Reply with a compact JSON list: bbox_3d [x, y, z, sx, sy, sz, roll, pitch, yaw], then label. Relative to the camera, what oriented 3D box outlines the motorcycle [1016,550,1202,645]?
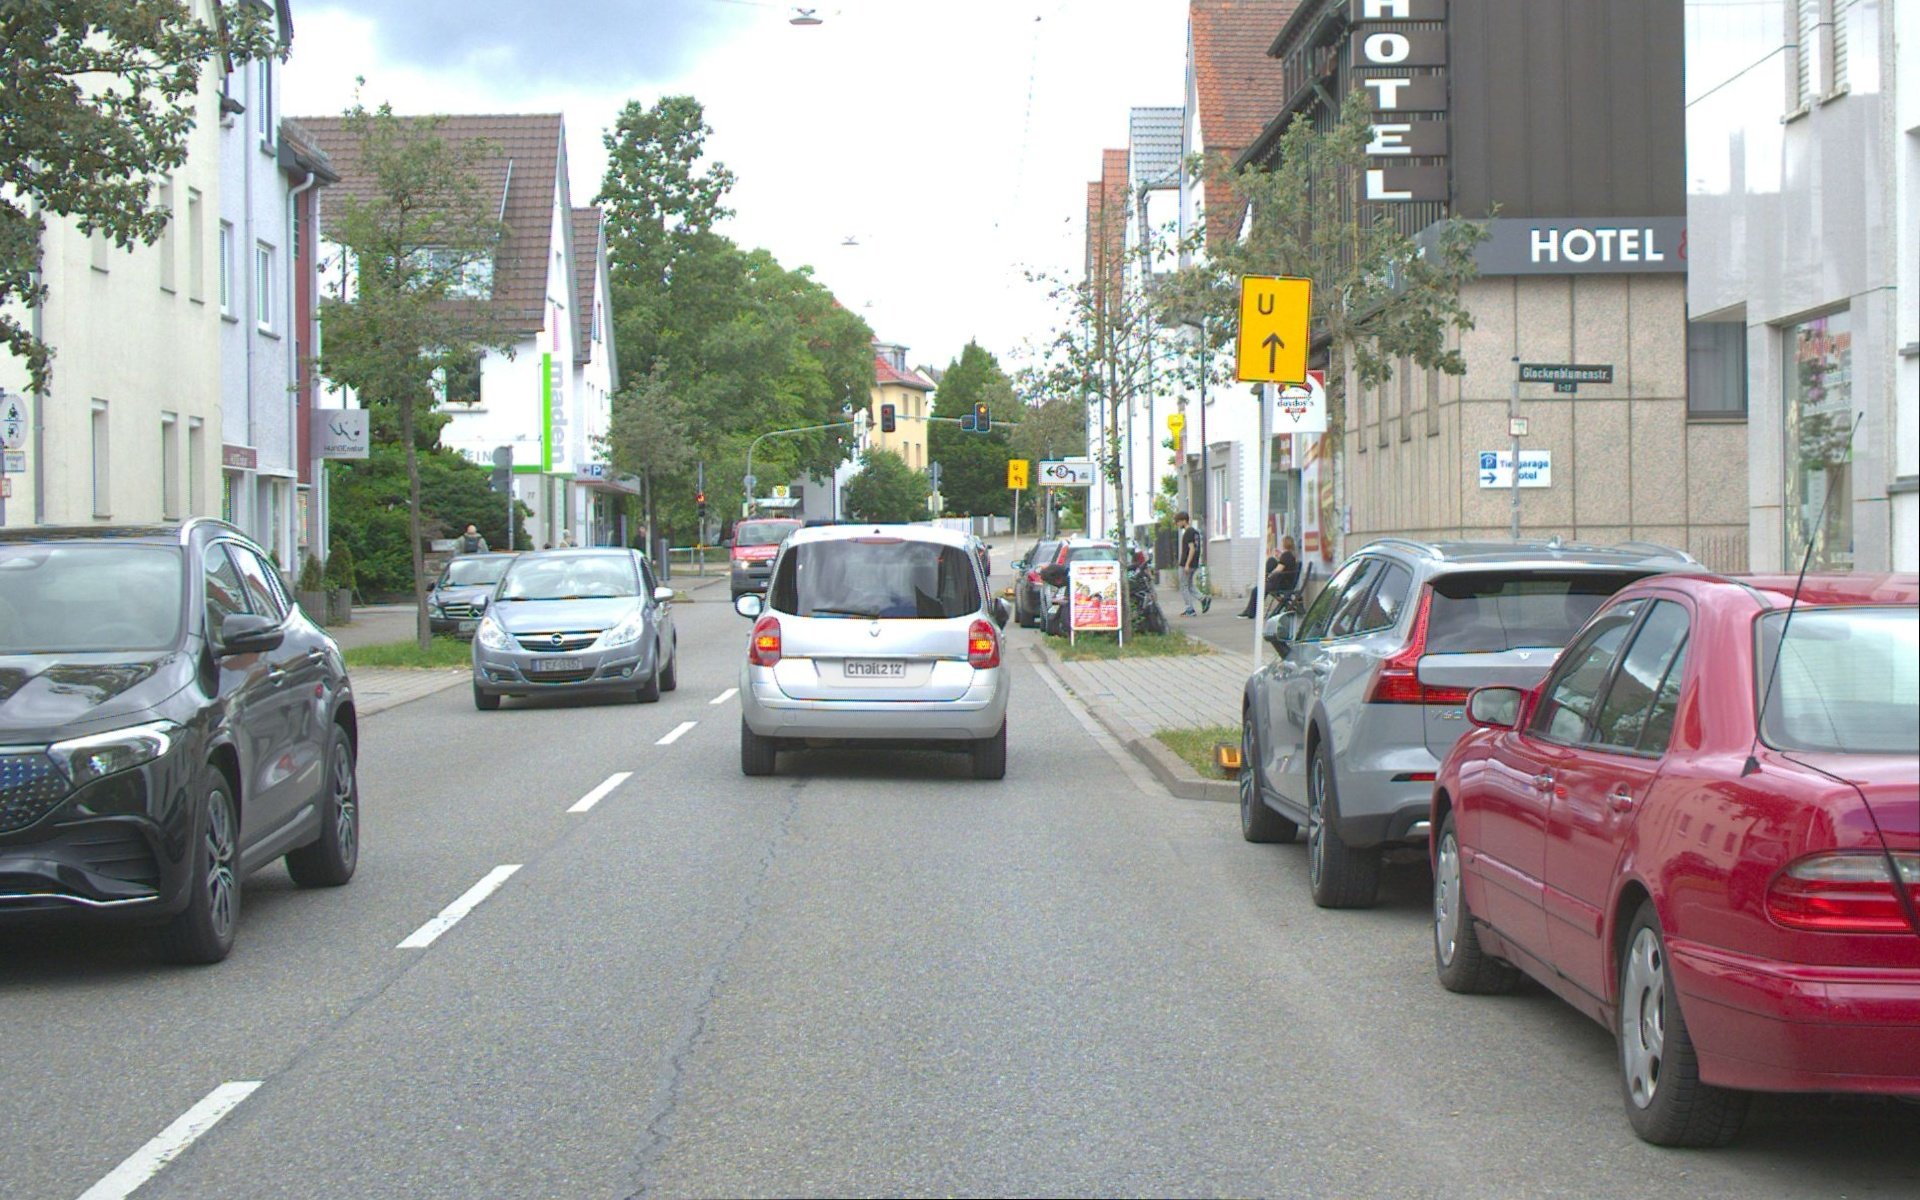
[{"bbox_3d":[2.151,-0.035,49.376,2.707,1.331,0.700,0,1,-31],"label":"motorcycle"}]

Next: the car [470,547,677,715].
[{"bbox_3d":[-3.619,0.252,32.759,1.682,1.442,4.021,-2,1,-3],"label":"car"}]

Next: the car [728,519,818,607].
[{"bbox_3d":[-4.402,-0.883,81.289,1.952,2.007,4.000,0,1,-1],"label":"car"}]

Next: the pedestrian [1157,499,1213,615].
[{"bbox_3d":[3.747,-0.717,57.387,0.857,1.921,0.899,0,1,0],"label":"pedestrian"}]

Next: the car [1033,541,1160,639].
[{"bbox_3d":[2.044,-0.173,52.523,1.700,1.425,3.891,0,1,-1],"label":"car"}]

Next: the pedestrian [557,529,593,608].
[{"bbox_3d":[-9.126,-0.750,81.487,0.762,1.869,0.696,0,1,-1],"label":"pedestrian"}]

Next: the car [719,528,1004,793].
[{"bbox_3d":[-0.592,0.332,22.533,1.682,1.560,3.993,1,1,0],"label":"car"}]

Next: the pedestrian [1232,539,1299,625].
[{"bbox_3d":[4.822,-0.287,54.280,0.887,1.296,0.966,-4,1,0],"label":"pedestrian"}]

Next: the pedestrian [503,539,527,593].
[{"bbox_3d":[-10.687,-0.819,82.529,0.492,1.273,0.588,0,1,-1],"label":"pedestrian"}]

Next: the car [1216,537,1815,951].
[{"bbox_3d":[2.244,0.508,15.114,1.875,1.534,4.513,0,1,0],"label":"car"}]

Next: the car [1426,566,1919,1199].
[{"bbox_3d":[2.466,0.651,9.408,1.755,1.441,4.455,1,1,0],"label":"car"}]

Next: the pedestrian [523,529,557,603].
[{"bbox_3d":[-9.961,-0.813,81.529,0.716,1.750,0.696,0,1,-1],"label":"pedestrian"}]

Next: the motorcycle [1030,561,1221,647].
[{"bbox_3d":[2.339,0.057,48.332,2.728,1.179,0.700,0,1,-31],"label":"motorcycle"}]

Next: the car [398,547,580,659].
[{"bbox_3d":[-6.729,0.009,49.530,1.948,1.462,4.516,-3,1,0],"label":"car"}]

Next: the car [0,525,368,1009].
[{"bbox_3d":[-3.577,0.538,13.407,1.794,1.573,4.192,-2,1,-1],"label":"car"}]

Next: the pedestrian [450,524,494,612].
[{"bbox_3d":[-9.979,-0.657,70.281,0.762,1.785,0.890,0,1,-1],"label":"pedestrian"}]

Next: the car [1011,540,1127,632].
[{"bbox_3d":[1.787,-0.248,57.333,1.700,1.462,4.239,0,1,-1],"label":"car"}]

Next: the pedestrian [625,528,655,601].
[{"bbox_3d":[-8.266,-0.916,88.795,0.716,1.869,0.696,0,1,-1],"label":"pedestrian"}]
